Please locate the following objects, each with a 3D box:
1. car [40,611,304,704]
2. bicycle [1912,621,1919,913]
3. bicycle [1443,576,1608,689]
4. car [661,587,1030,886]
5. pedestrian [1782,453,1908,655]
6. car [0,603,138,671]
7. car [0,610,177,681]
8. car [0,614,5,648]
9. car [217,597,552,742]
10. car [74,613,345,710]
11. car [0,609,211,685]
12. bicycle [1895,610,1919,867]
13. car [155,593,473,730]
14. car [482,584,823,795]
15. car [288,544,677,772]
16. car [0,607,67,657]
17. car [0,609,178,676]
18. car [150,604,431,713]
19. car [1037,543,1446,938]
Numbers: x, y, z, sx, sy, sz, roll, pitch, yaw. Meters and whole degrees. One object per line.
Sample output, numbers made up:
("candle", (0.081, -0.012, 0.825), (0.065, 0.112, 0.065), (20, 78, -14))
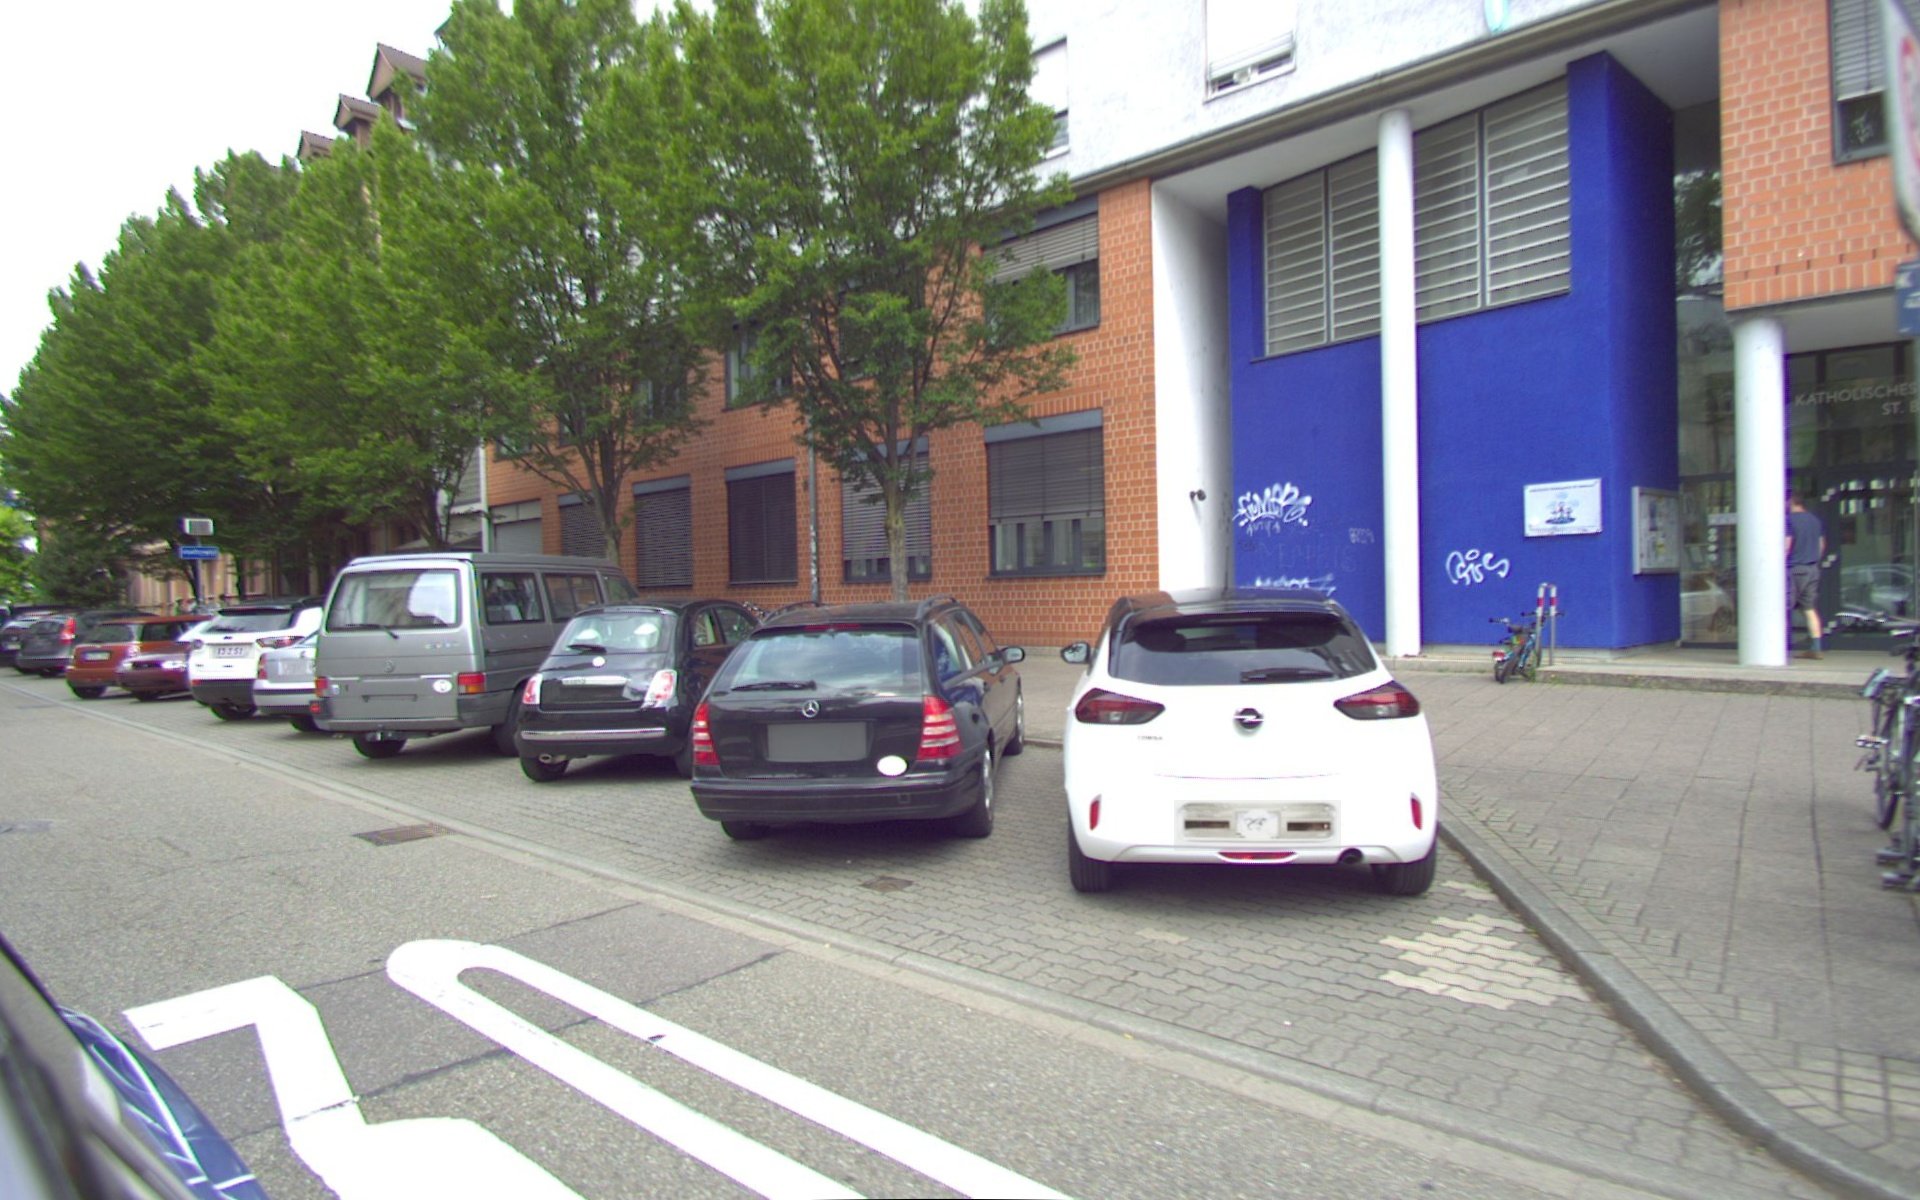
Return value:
("car", (-15.002, 1.033, 19.582), (1.671, 1.464, 3.997), (-2, 1, 7))
("bicycle", (3.697, 0.651, 3.612), (0.402, 1.034, 1.391), (-1, 3, 42))
("bicycle", (5.988, 0.308, 10.695), (1.591, 0.932, 0.933), (-9, 5, -37))
("car", (-0.456, 0.672, 7.305), (1.697, 1.480, 4.308), (-1, 1, 7))
("pedestrian", (9.356, -0.471, 10.711), (0.718, 2.029, 0.785), (-1, 0, -30))
("car", (-27.777, 1.088, 30.963), (1.671, 1.871, 4.037), (-2, 1, 7))
("car", (-23.152, 1.147, 26.646), (1.671, 1.579, 3.997), (-2, 1, 7))
("car", (-51.369, 1.709, 51.401), (1.671, 1.769, 3.997), (-2, 1, 7))
("car", (-6.983, 0.752, 12.835), (1.606, 1.457, 3.997), (-2, 1, 7))
("car", (-13.257, 1.016, 18.221), (1.577, 1.400, 3.997), (-2, 1, 7))
("car", (-21.069, 1.100, 25.135), (1.671, 1.579, 3.997), (-2, 1, 7))
("bicycle", (4.658, 0.594, 4.728), (0.402, 1.034, 1.391), (-1, 2, 42))
("car", (-9.021, 0.763, 14.598), (1.692, 1.627, 3.997), (-2, 1, 7))
("car", (-2.656, 0.671, 9.786), (1.689, 1.522, 3.999), (-2, 2, 6))
("car", (-4.851, 0.448, 11.031), (1.841, 2.012, 3.995), (-1, 2, 9))
("car", (-37.683, 1.279, 39.566), (1.671, 1.871, 3.997), (-2, 1, 7))
("car", (-25.556, 1.197, 29.771), (1.671, 1.694, 3.997), (-2, 1, 7))
("car", (-10.994, 0.887, 17.008), (1.738, 1.488, 3.997), (-2, 1, 7))
("car", (1.448, 0.534, 6.099), (1.585, 1.557, 3.994), (-1, 1, 10))
